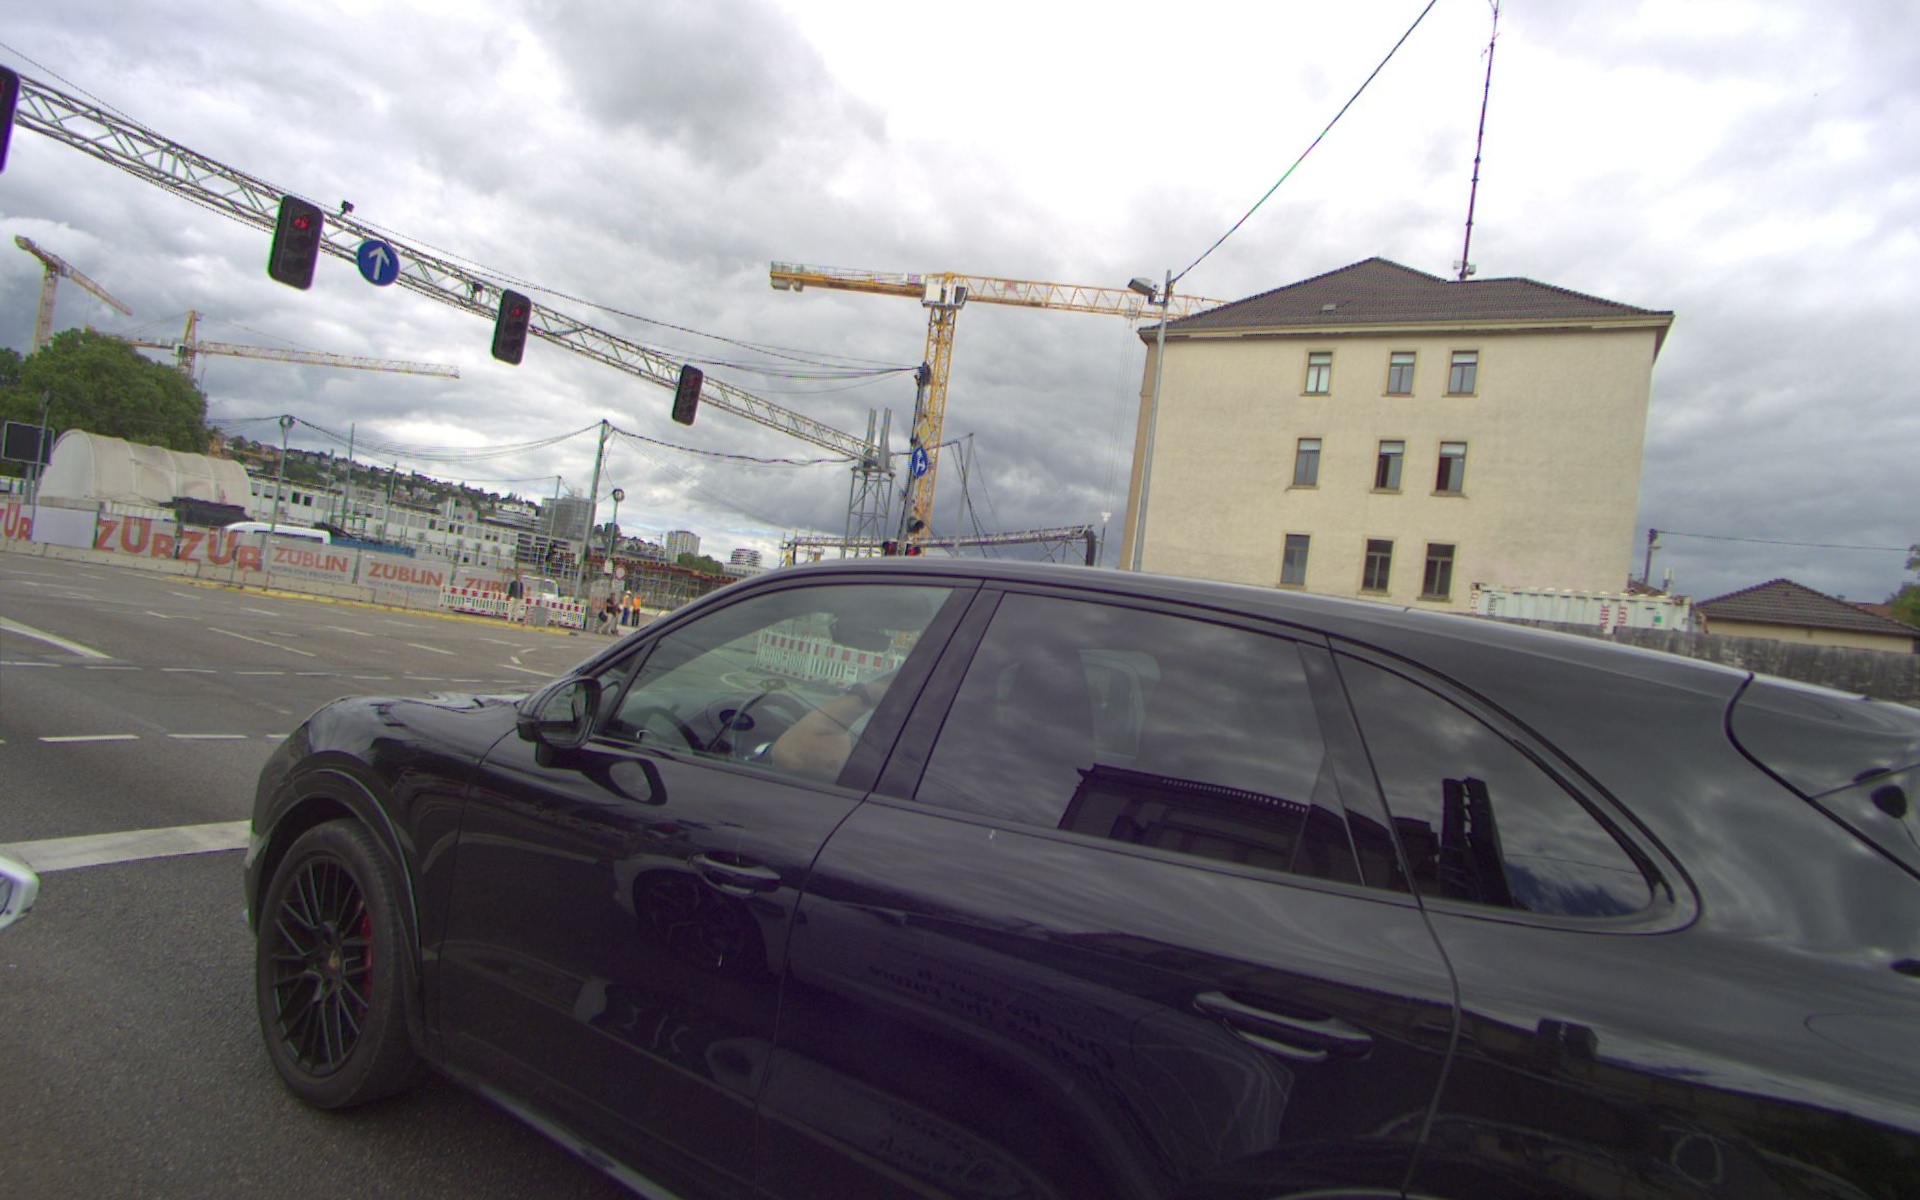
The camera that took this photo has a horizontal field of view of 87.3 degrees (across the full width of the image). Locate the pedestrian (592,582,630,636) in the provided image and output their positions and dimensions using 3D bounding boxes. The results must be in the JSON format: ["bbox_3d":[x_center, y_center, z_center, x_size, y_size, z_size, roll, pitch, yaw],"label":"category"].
[{"bbox_3d":[-14.287,0.367,41.174,1.036,2.037,1.025,8,-1,-33],"label":"pedestrian"}]

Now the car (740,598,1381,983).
[{"bbox_3d":[0.584,0.995,6.544,3.587,1.527,1.825,6,-2,33],"label":"car"}]

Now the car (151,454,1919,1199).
[{"bbox_3d":[0.003,0.686,2.707,4.505,1.687,1.997,6,-2,34],"label":"car"}]

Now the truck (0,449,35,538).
[{"bbox_3d":[-58.642,-6.739,56.331,3.054,5.017,9.760,7,-2,11],"label":"truck"}]

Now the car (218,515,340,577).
[{"bbox_3d":[-29.521,-2.326,43.634,3.976,2.037,1.976,9,-2,-43],"label":"car"}]

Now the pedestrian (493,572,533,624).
[{"bbox_3d":[-17.402,-0.065,39.183,1.040,1.869,0.781,8,-1,-42],"label":"pedestrian"}]

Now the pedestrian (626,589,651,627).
[{"bbox_3d":[-17.491,0.456,54.672,0.850,1.938,0.680,7,-1,26],"label":"pedestrian"}]

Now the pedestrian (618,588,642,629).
[{"bbox_3d":[-17.637,0.446,53.817,0.855,2.037,0.677,6,-1,44],"label":"pedestrian"}]
